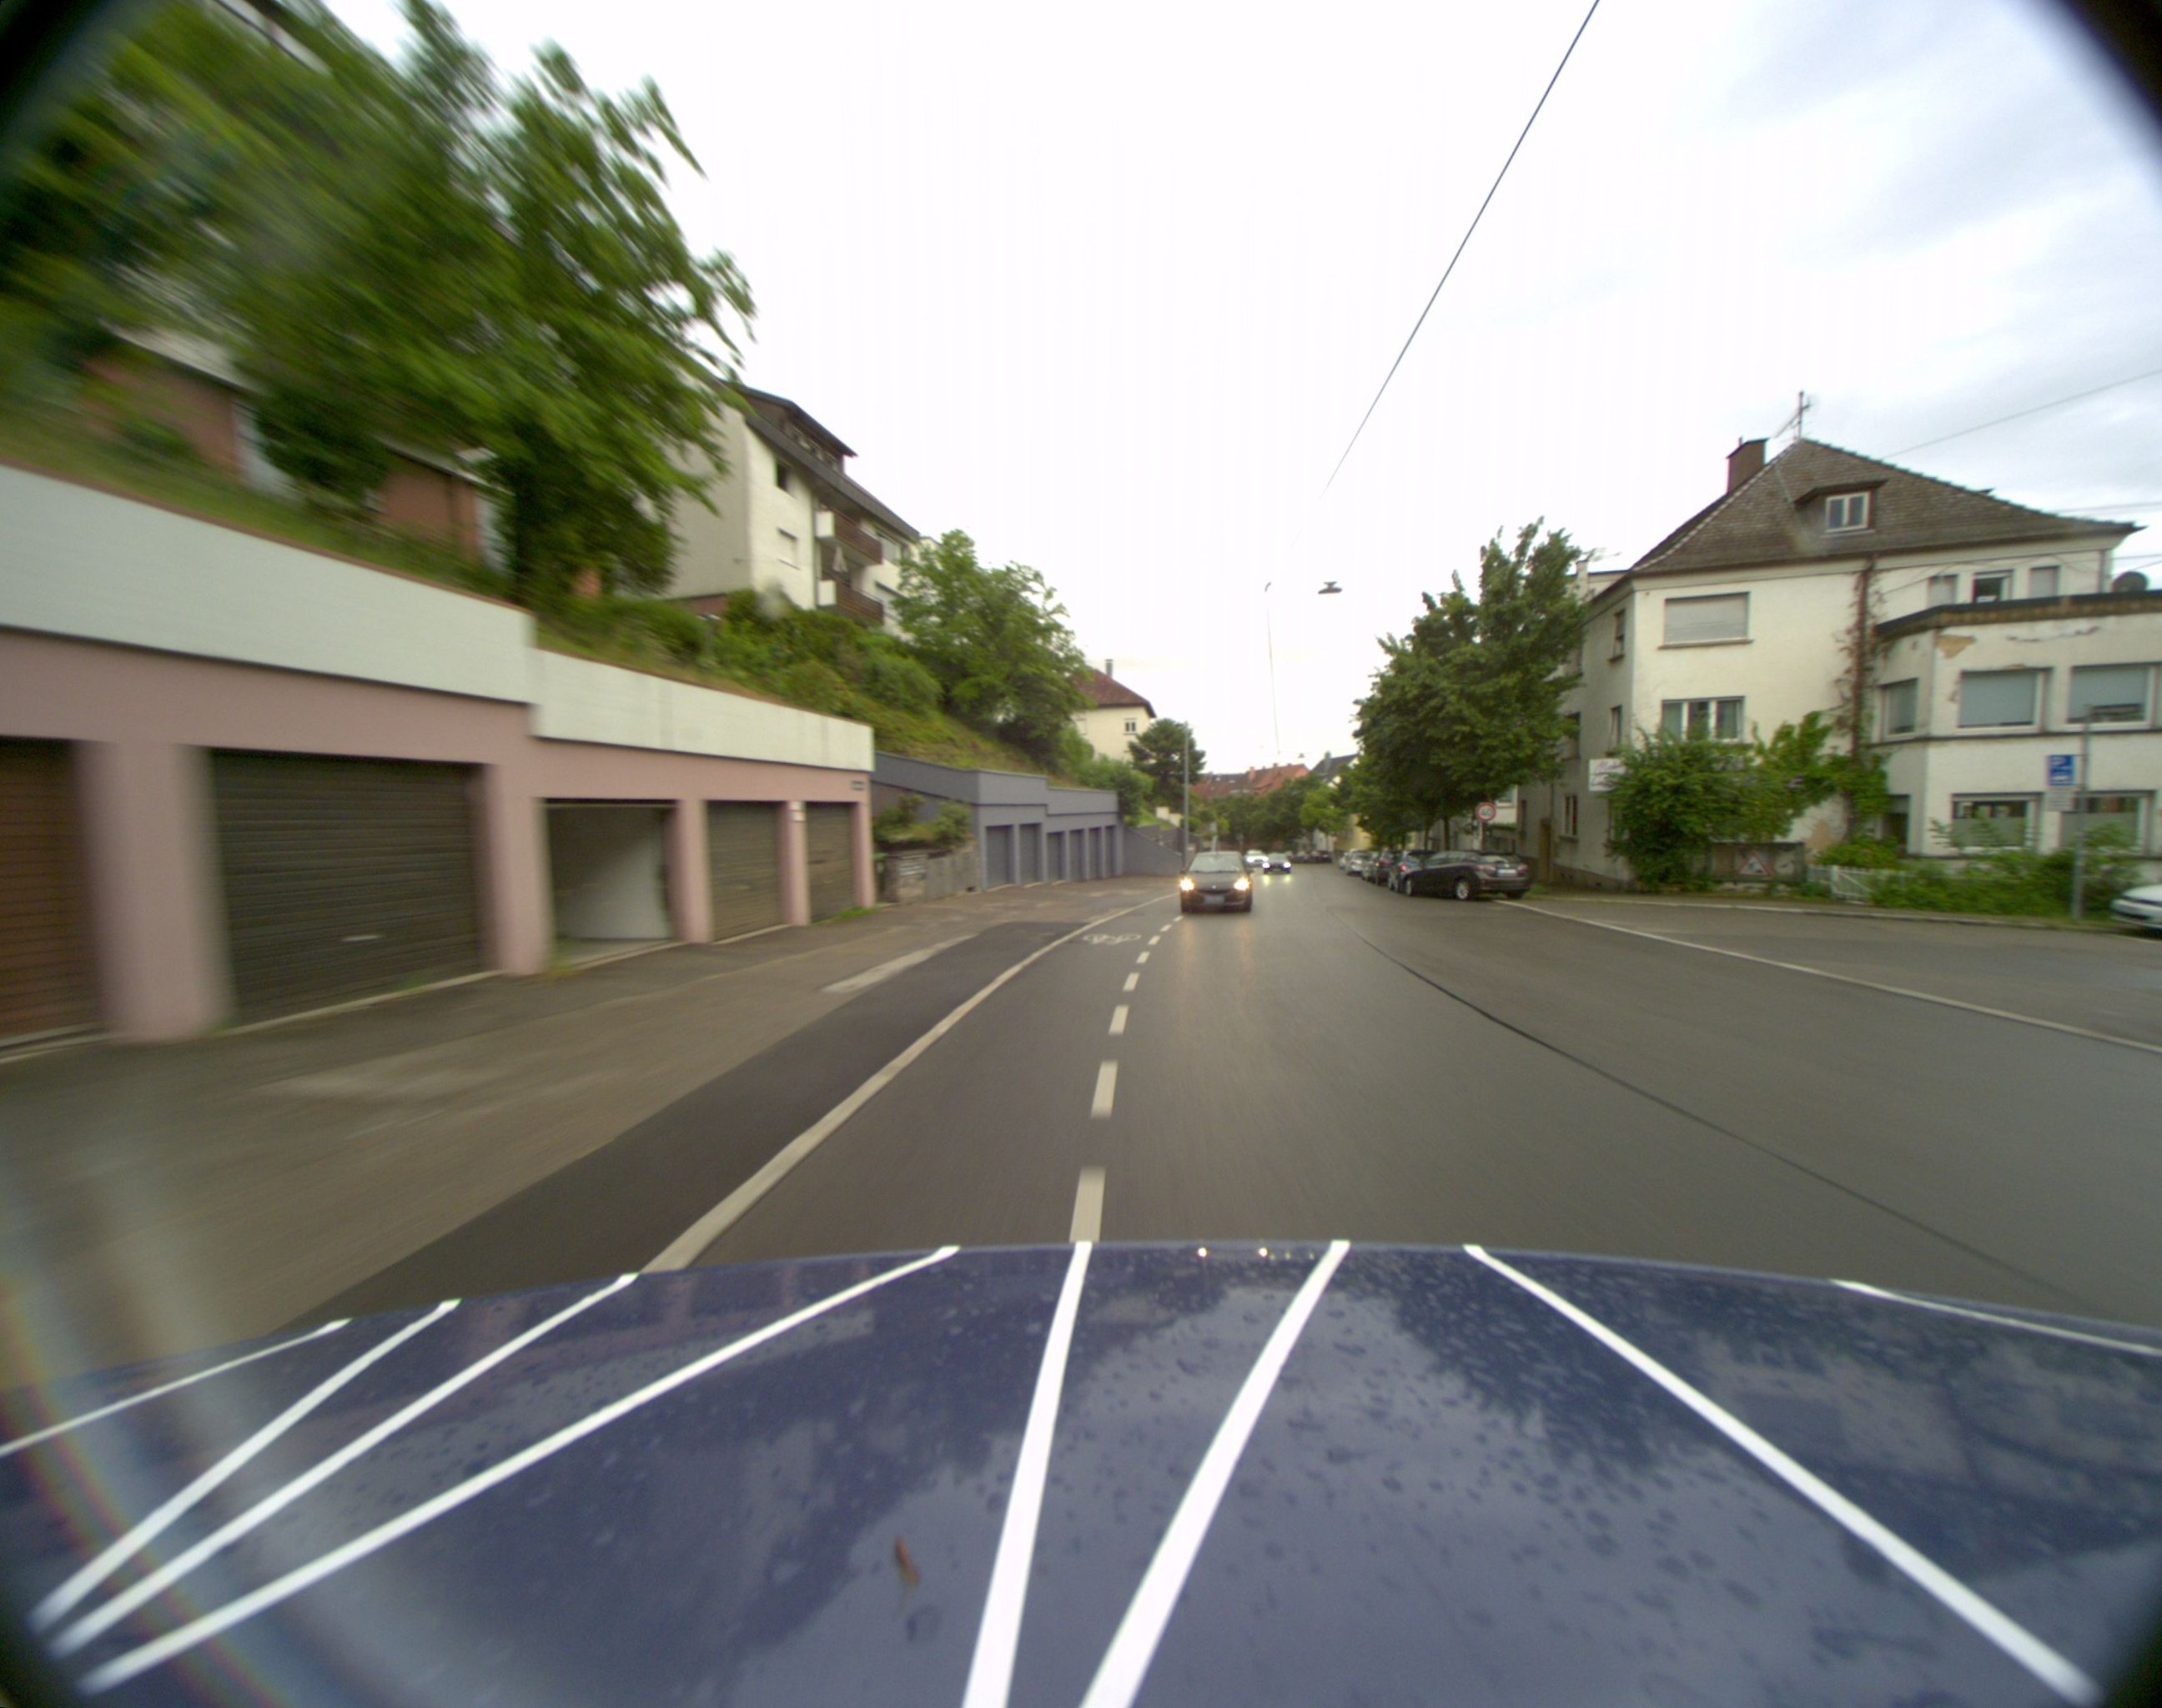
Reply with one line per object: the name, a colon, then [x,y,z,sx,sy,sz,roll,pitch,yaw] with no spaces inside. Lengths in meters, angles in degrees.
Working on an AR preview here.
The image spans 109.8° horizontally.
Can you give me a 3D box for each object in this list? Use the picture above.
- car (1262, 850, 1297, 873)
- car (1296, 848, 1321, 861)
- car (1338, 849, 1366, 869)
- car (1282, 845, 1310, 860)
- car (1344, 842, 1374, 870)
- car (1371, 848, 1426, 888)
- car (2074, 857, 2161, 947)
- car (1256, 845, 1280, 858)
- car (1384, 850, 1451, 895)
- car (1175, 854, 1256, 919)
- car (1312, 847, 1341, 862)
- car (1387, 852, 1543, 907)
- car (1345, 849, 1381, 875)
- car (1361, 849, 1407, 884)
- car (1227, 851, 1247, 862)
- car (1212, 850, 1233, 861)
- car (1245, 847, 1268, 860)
car: [14.134,0.501,54.041,1.996,1.502,4.216,-2,0,20]
car: [26.051,0.101,87.166,1.618,1.388,4.323,-2,0,2]
car: [23.769,0.438,66.761,1.787,1.506,4.349,2,2,13]
car: [26.092,-0.174,92.243,1.859,1.680,4.553,-1,0,-3]
car: [22.242,0.117,61.008,1.916,1.990,4.552,-2,1,16]
car: [14.175,0.588,34.085,1.807,1.617,4.144,-1,1,17]
car: [21.384,0.993,13.414,4.093,1.509,2.003,5,5,28]
car: [25.387,-0.319,103.405,1.859,1.658,4.586,-2,0,-3]
car: [11.933,0.651,27.155,1.715,1.454,3.886,-2,-1,18]
car: [3.532,0.746,19.425,1.696,1.456,4.004,-1,0,15]
car: [26.549,0.061,82.218,1.779,1.531,4.517,-3,0,2]
car: [11.153,0.671,22.445,2.000,1.383,4.193,-1,1,-10]
car: [18.527,0.509,50.064,1.807,1.445,4.601,-2,1,16]
car: [15.841,0.586,39.926,1.806,1.543,4.804,2,2,17]
car: [24.265,0.419,118.139,1.752,1.680,4.598,-2,0,-6]
car: [22.967,0.305,123.320,1.793,1.631,4.476,-2,0,-9]
car: [25.258,0.000,109.258,1.859,1.766,4.480,-2,0,-5]
